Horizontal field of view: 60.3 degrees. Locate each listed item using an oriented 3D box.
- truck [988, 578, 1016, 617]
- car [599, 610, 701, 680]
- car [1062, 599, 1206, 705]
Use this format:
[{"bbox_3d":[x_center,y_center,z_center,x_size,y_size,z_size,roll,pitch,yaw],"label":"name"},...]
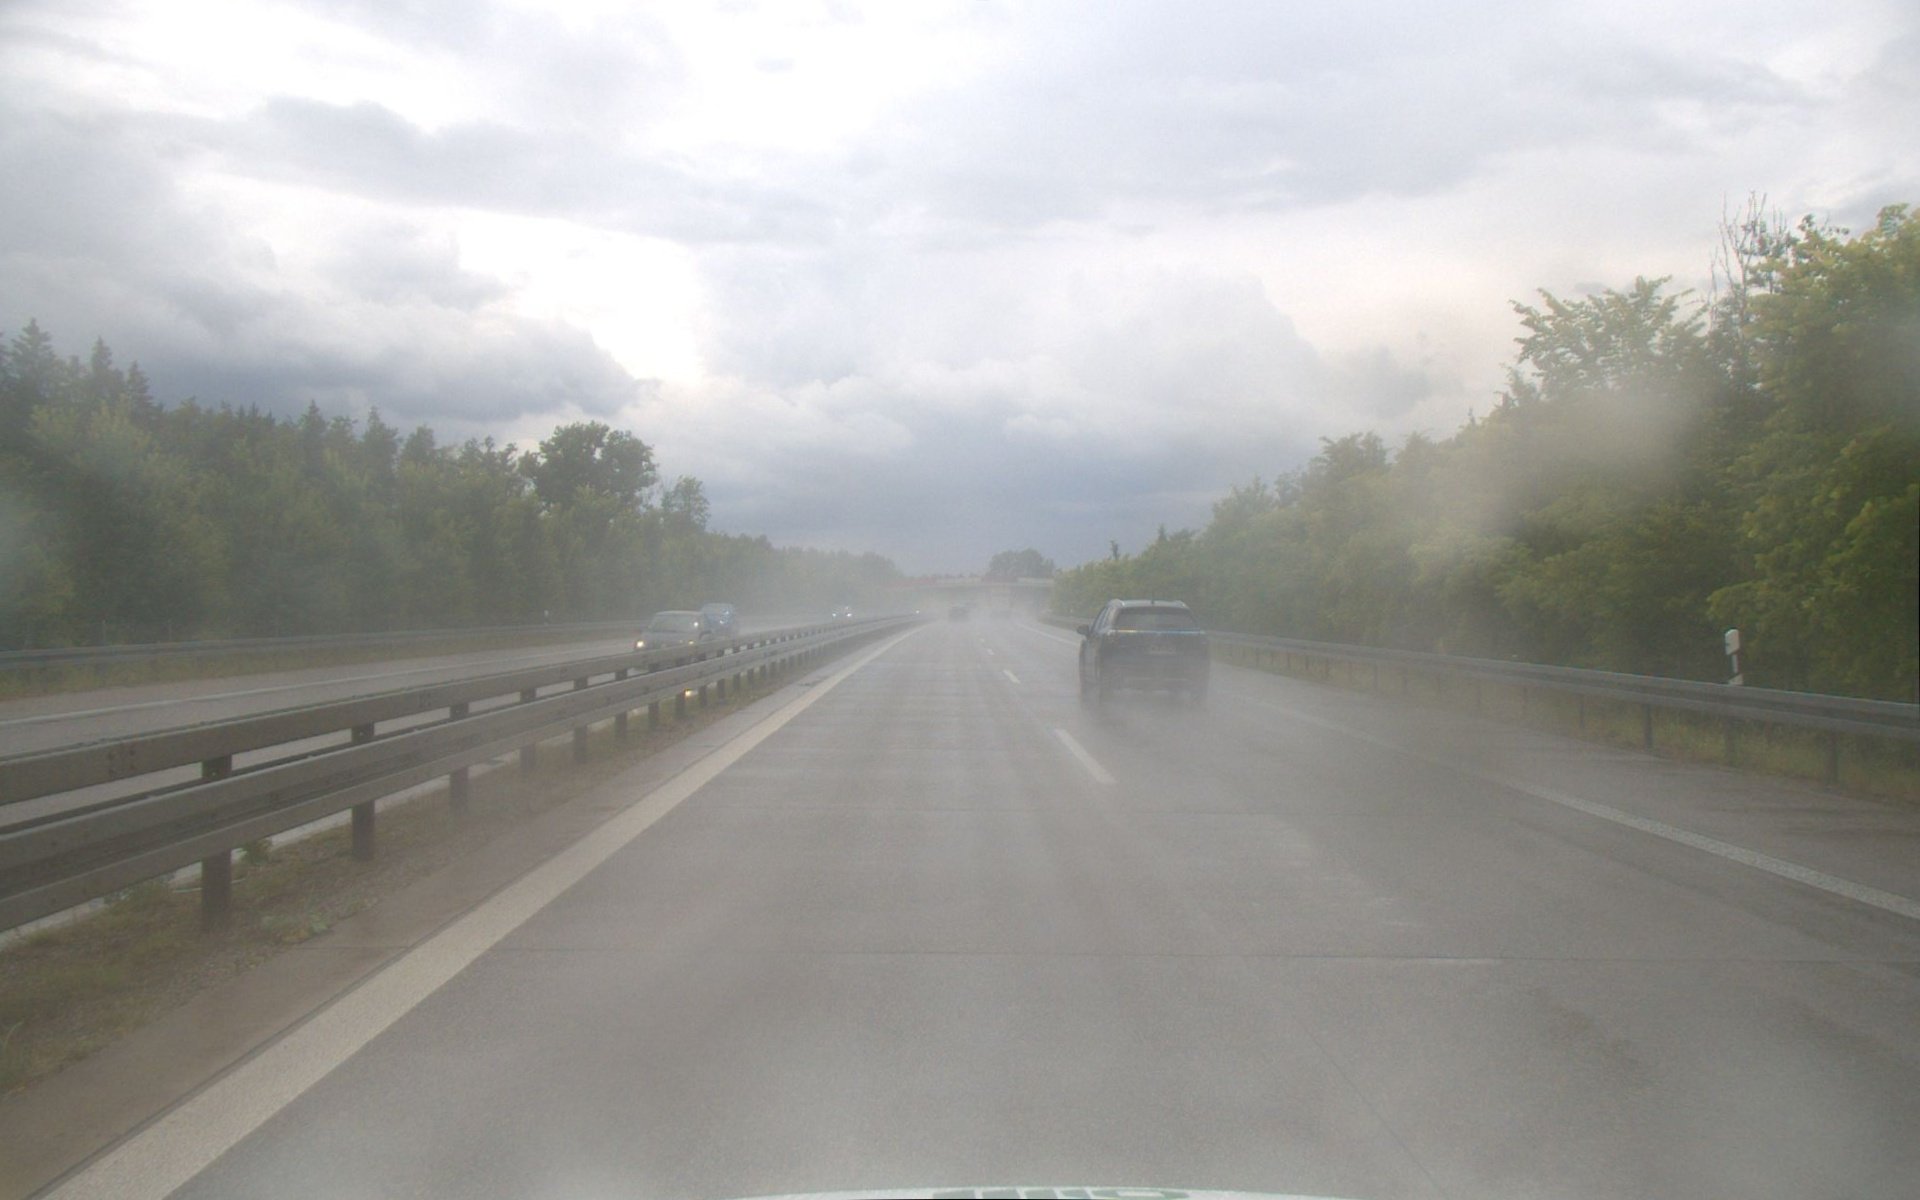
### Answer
[{"bbox_3d":[4.945,-0.233,193.858,3.176,4.515,8.247,0,-1,2],"label":"truck"},{"bbox_3d":[-8.063,1.136,43.357,1.953,1.631,3.999,-2,1,-2],"label":"car"},{"bbox_3d":[2.791,0.823,27.265,1.856,1.604,3.630,1,-1,-2],"label":"car"}]
